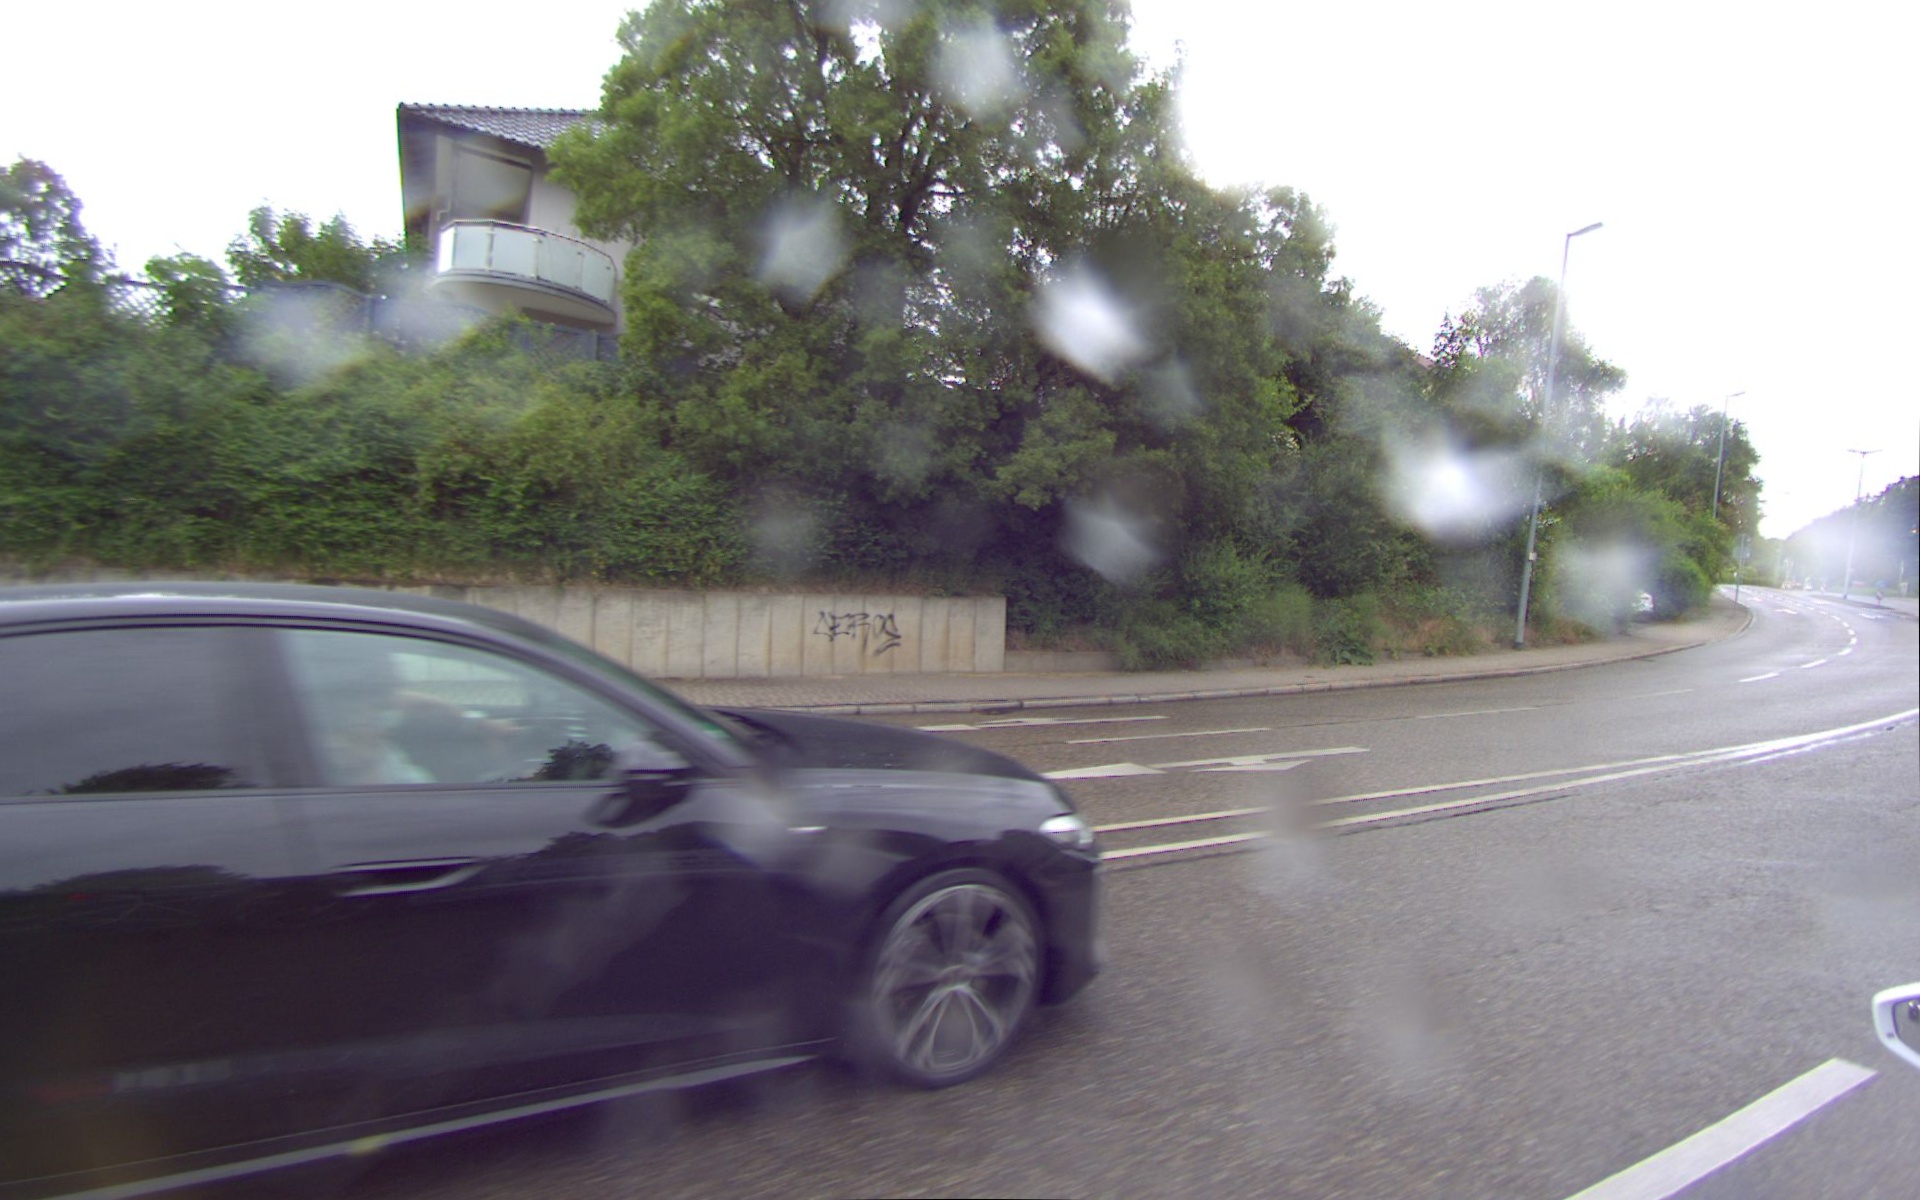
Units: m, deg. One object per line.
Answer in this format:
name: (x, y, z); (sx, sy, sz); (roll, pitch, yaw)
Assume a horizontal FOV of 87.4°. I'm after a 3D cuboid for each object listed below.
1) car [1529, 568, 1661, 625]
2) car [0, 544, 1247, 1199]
car: (24.334, -0.175, 38.555); (3.941, 1.466, 1.846); (13, 9, 39)
car: (-1.598, 0.640, 3.025); (4.801, 1.416, 1.896); (4, 1, -30)
